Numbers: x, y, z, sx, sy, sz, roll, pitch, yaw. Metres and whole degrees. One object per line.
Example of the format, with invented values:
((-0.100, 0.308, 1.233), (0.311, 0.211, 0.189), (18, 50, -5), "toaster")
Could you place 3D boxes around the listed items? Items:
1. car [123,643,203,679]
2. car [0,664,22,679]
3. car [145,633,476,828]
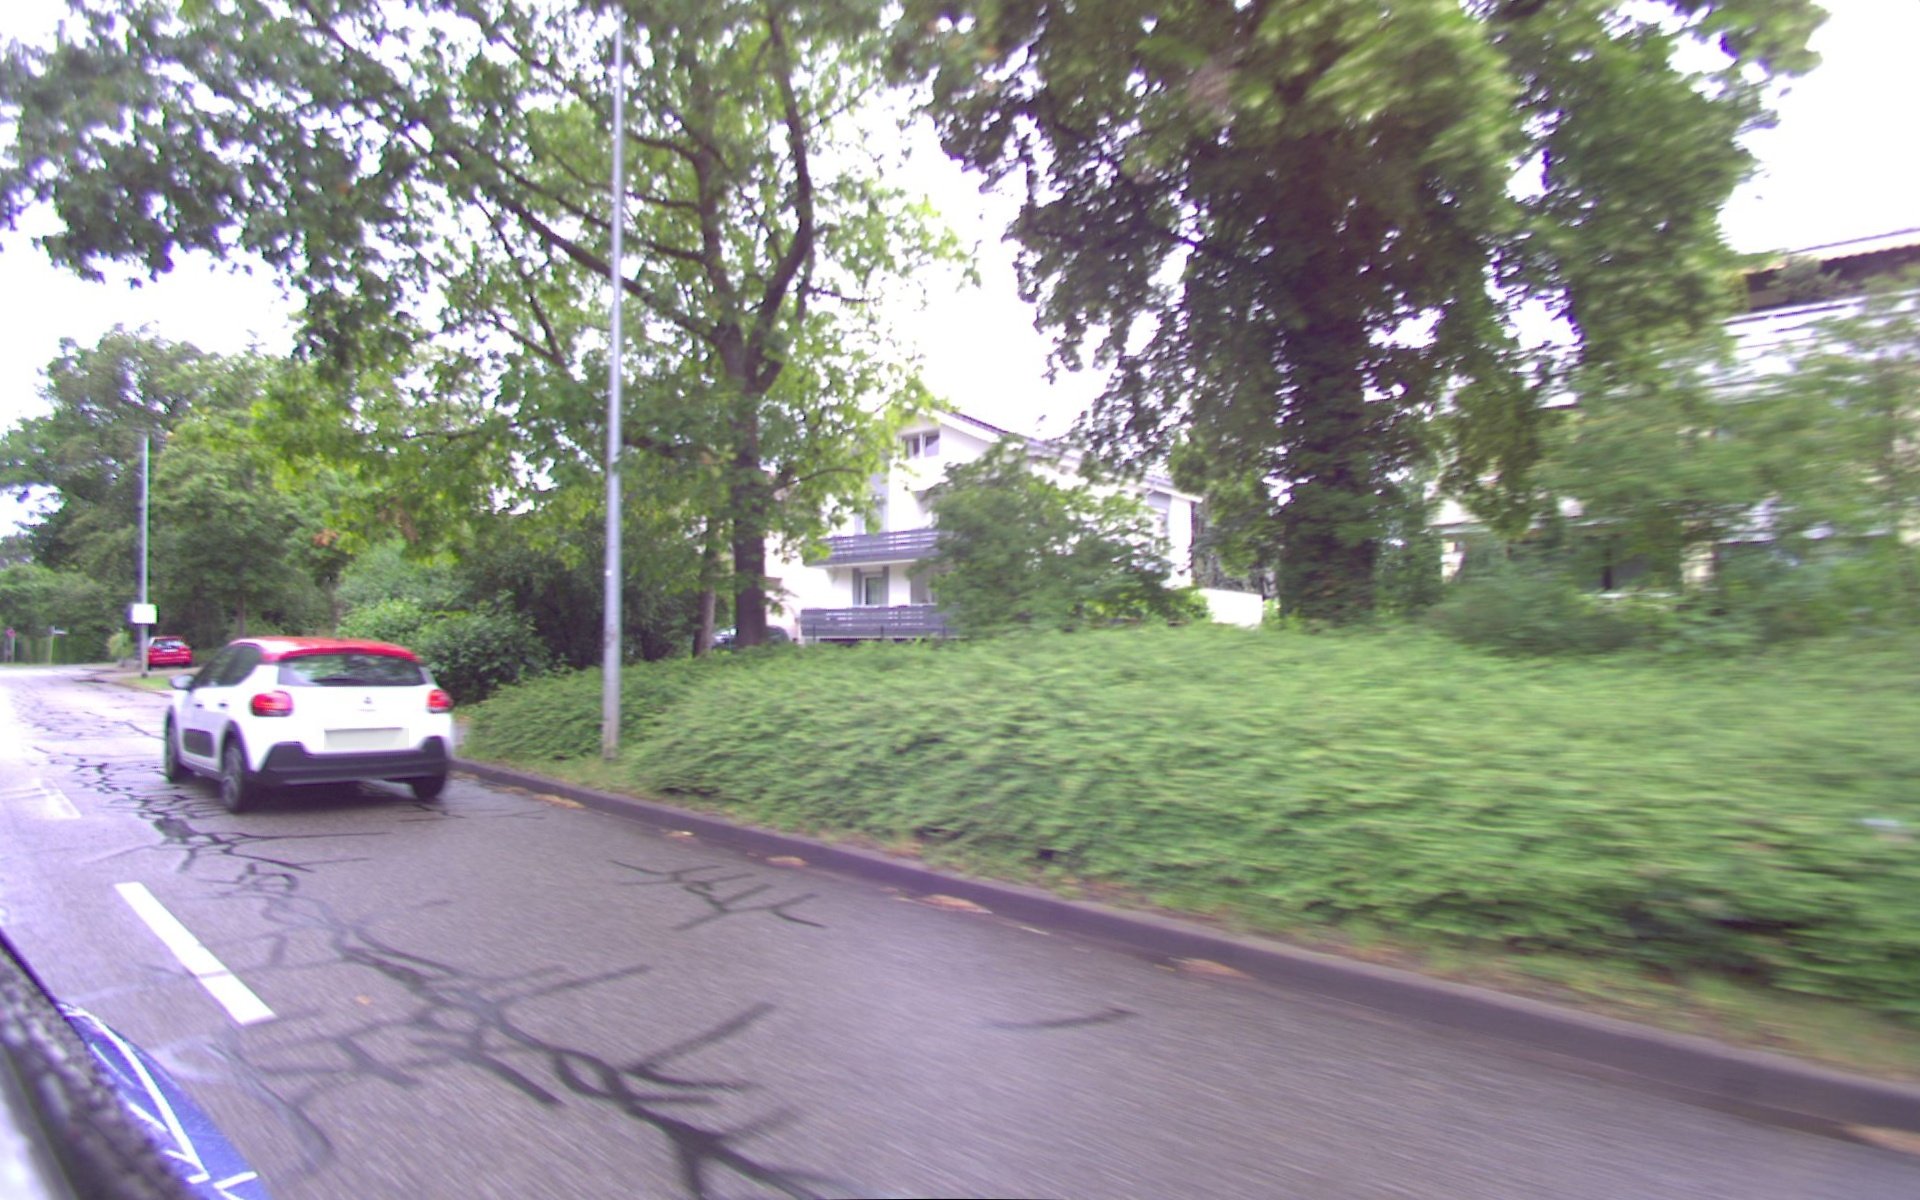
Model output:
((-37.052, 2.831, 47.003), (3.995, 1.528, 1.974), (-1, -4, 38), "car")
((-108.117, 8.075, 113.663), (1.815, 1.599, 3.816), (-4, -4, 36), "car")
((-6.288, 1.123, 9.652), (3.730, 1.488, 1.648), (-2, -6, 42), "car")
